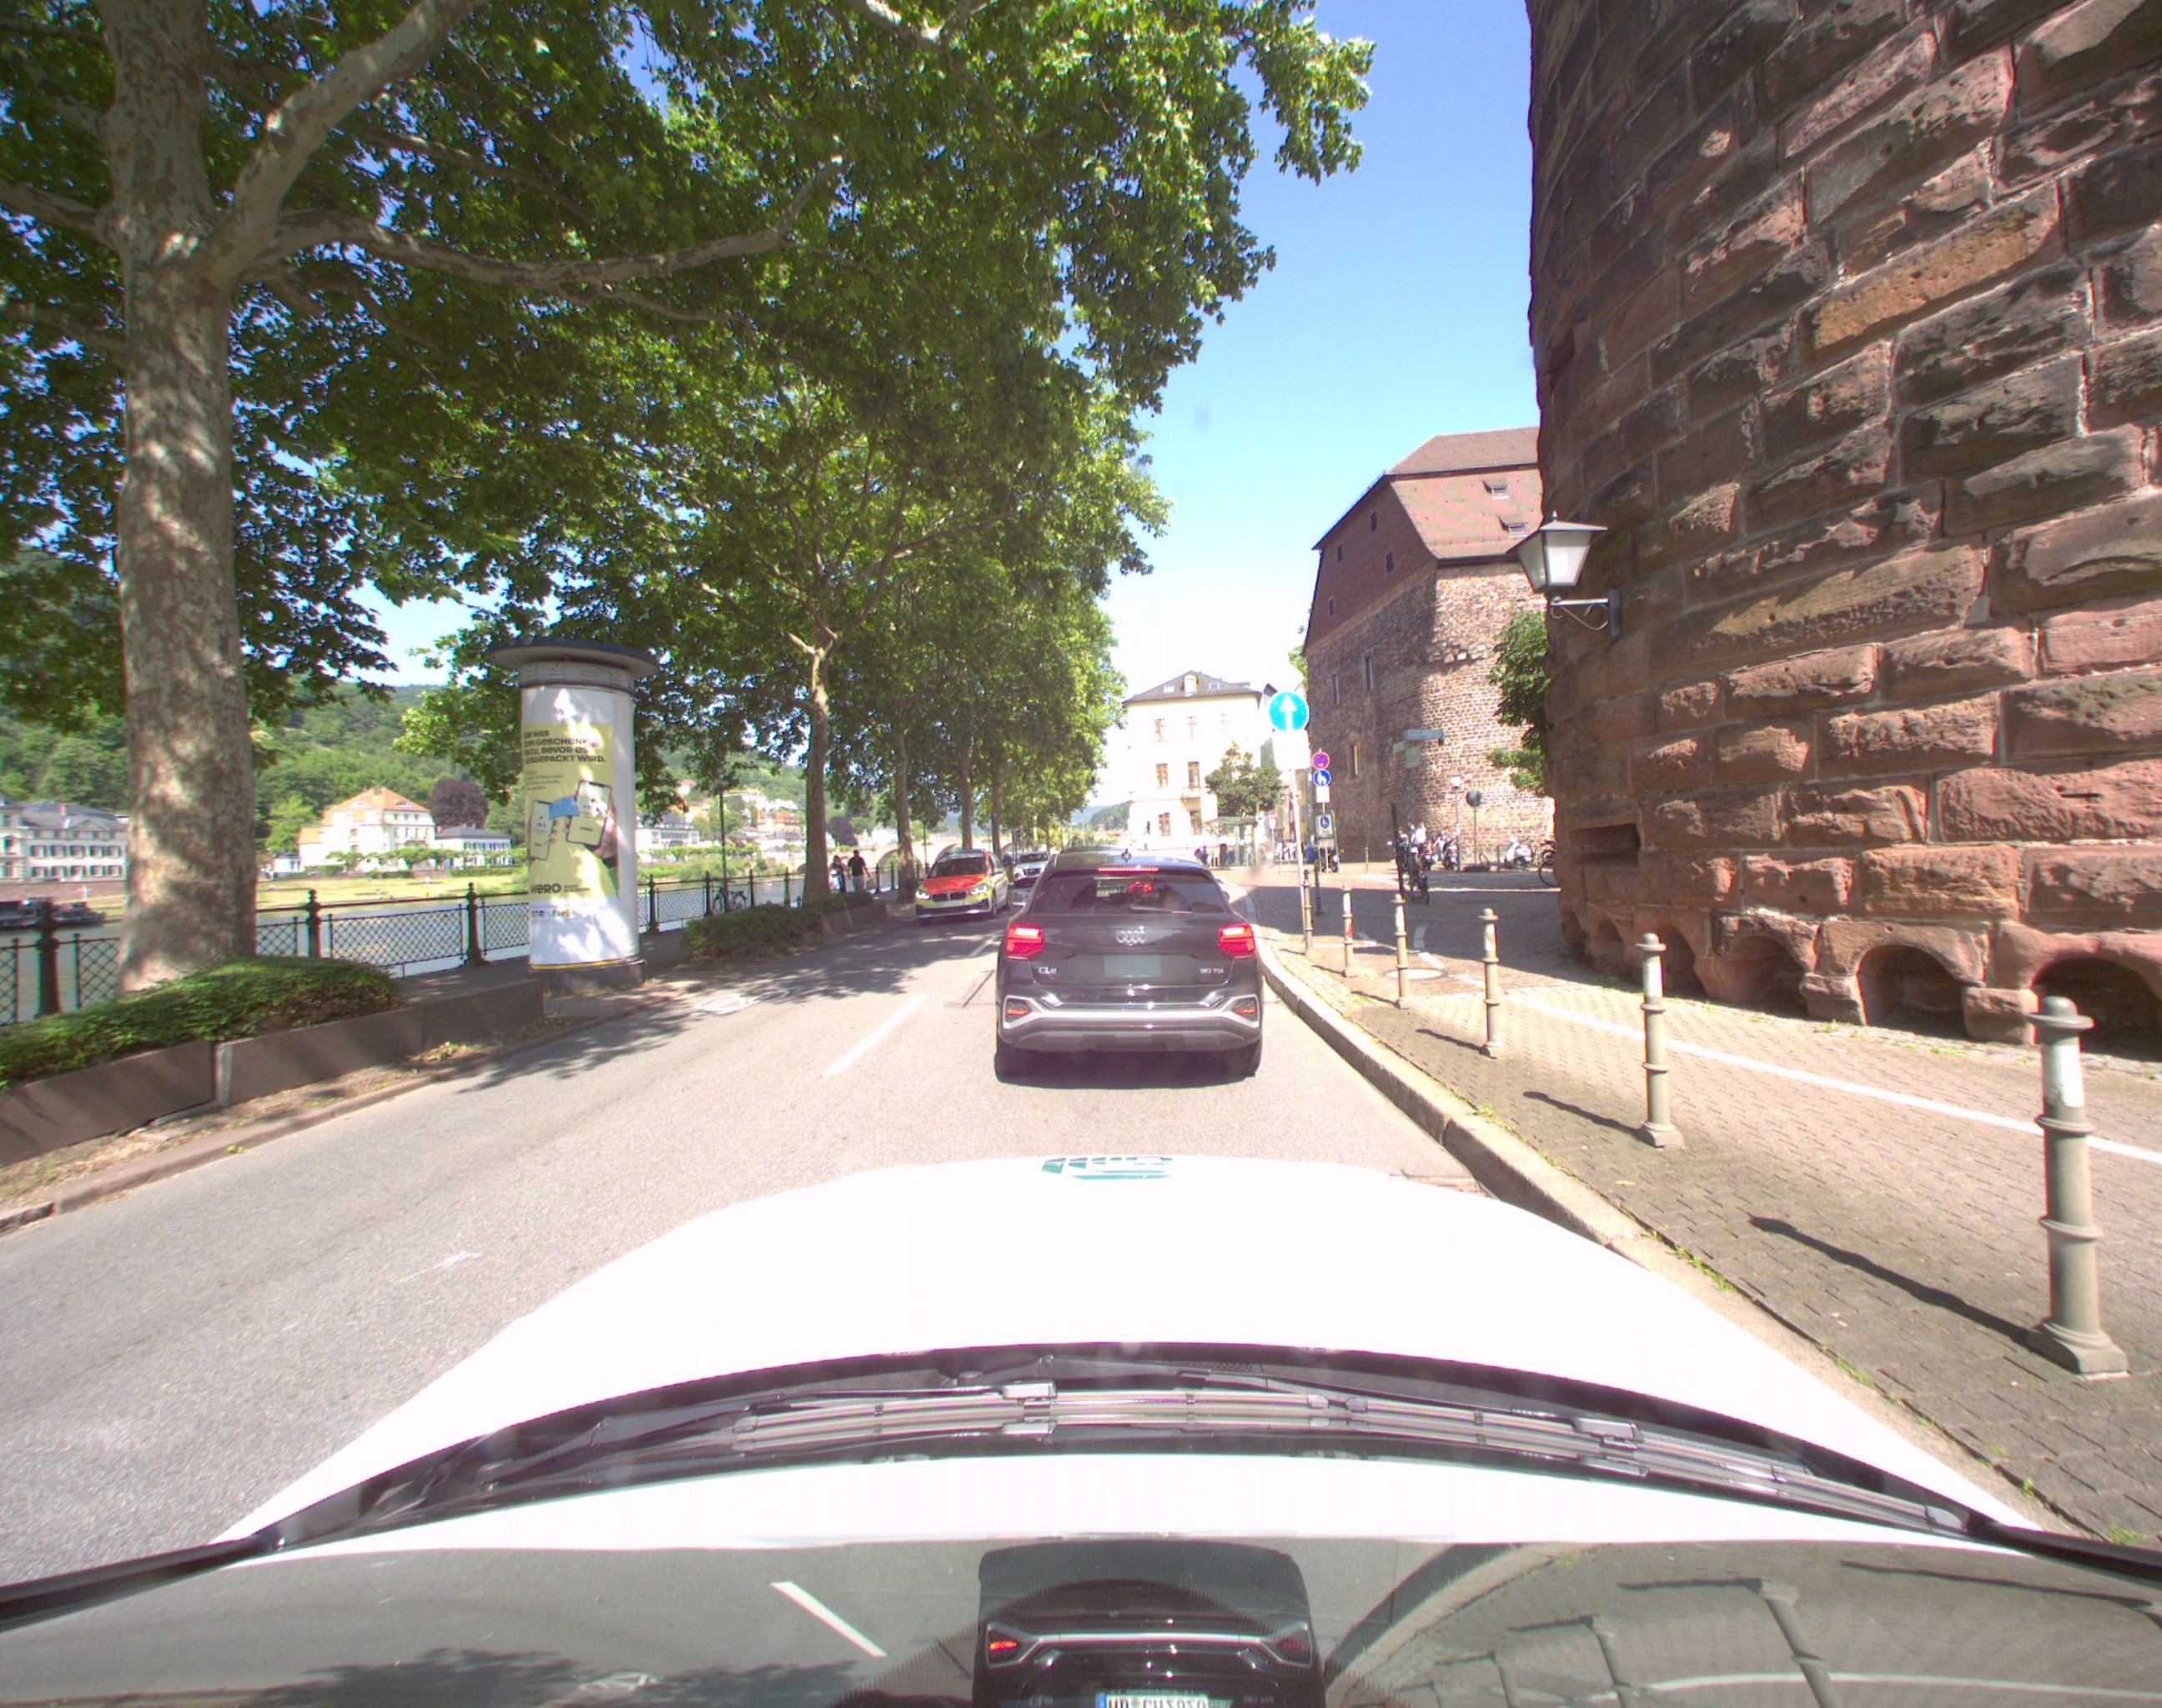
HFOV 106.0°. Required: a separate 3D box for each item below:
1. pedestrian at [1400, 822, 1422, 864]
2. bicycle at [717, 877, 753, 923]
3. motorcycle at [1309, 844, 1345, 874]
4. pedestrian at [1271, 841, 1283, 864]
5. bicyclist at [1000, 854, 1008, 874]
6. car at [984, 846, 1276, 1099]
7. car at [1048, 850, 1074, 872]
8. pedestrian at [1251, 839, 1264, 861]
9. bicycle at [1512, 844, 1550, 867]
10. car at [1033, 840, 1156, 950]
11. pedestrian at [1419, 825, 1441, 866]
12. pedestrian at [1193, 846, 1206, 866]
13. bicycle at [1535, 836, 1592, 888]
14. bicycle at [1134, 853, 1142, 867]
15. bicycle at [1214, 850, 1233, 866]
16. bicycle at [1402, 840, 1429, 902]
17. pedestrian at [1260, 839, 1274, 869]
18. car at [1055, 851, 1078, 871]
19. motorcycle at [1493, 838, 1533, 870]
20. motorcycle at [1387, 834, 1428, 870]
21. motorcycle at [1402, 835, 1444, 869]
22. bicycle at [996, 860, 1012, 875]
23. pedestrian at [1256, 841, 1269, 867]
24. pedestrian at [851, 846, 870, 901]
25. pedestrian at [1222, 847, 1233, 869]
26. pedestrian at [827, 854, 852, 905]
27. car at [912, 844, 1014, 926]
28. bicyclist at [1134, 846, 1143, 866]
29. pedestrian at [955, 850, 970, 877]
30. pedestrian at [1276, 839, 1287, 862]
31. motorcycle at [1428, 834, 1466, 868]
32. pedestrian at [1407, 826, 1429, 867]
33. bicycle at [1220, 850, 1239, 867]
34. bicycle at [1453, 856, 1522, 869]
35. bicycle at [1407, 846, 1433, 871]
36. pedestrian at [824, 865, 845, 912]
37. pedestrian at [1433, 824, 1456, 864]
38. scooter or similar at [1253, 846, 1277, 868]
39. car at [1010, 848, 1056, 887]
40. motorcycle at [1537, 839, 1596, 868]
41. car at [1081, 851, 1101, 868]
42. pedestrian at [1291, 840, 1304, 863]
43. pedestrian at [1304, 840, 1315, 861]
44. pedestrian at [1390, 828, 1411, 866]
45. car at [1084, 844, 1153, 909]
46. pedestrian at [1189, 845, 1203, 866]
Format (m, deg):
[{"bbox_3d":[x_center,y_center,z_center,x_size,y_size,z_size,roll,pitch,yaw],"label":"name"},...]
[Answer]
[{"bbox_3d":[16.152,-0.526,39.890,0.727,2.014,0.878,0,-1,1],"label":"pedestrian"},{"bbox_3d":[-8.888,1.172,20.952,0.358,1.091,1.296,1,0,1],"label":"bicycle"},{"bbox_3d":[9.056,0.167,30.034,0.564,1.012,2.490,-2,0,1],"label":"motorcycle"},{"bbox_3d":[17.722,-0.149,73.658,0.941,2.014,0.808,0,-1,2],"label":"pedestrian"},{"bbox_3d":[-5.293,0.683,56.059,0.565,1.311,0.551,0,-1,-3],"label":"bicyclist"},{"bbox_3d":[0.351,0.700,6.706,1.736,1.509,3.649,0,0,2],"label":"car"},{"bbox_3d":[-1.617,0.571,66.528,1.732,1.572,4.093,-6,0,2],"label":"car"},{"bbox_3d":[13.519,-0.296,62.360,0.773,1.621,0.646,-3,0,4],"label":"pedestrian"},{"bbox_3d":[16.627,0.050,30.135,0.352,0.820,1.926,0,1,1],"label":"bicycle"},{"bbox_3d":[0.253,0.588,13.595,1.786,1.595,3.400,0,0,2],"label":"car"},{"bbox_3d":[16.507,-0.406,38.528,0.666,1.920,0.821,0,-1,1],"label":"pedestrian"},{"bbox_3d":[6.979,0.114,47.995,0.662,1.211,0.640,0,-1,-5],"label":"pedestrian"},{"bbox_3d":[11.537,0.173,19.542,0.444,1.162,1.733,-2,0,5],"label":"bicycle"},{"bbox_3d":[4.372,0.461,62.625,0.436,1.086,1.675,0,-1,-2],"label":"bicycle"},{"bbox_3d":[8.664,0.240,49.502,1.187,1.016,0.178,0,-1,-17],"label":"bicycle"},{"bbox_3d":[6.889,0.326,16.819,0.192,1.203,1.775,-2,1,13],"label":"bicycle"},{"bbox_3d":[11.836,0.013,51.705,0.744,1.890,0.753,-1,-1,4],"label":"pedestrian"},{"bbox_3d":[-1.405,0.648,80.158,1.806,1.725,4.423,-8,0,2],"label":"car"},{"bbox_3d":[15.439,0.009,29.148,0.505,1.073,1.841,0,-1,2],"label":"motorcycle"},{"bbox_3d":[11.969,-0.053,29.886,0.653,1.266,2.201,-2,-1,2],"label":"motorcycle"},{"bbox_3d":[12.862,-0.070,30.674,0.672,1.235,2.313,0,-1,2],"label":"motorcycle"},{"bbox_3d":[-5.294,0.920,56.000,1.091,1.006,0.303,-1,-1,-5],"label":"bicycle"},{"bbox_3d":[9.506,0.010,42.684,0.555,1.385,0.588,-1,-1,4],"label":"pedestrian"},{"bbox_3d":[-7.587,0.655,28.006,0.532,1.887,0.437,0,0,1],"label":"pedestrian"},{"bbox_3d":[10.362,0.295,57.589,0.691,1.500,0.513,0,-1,-3],"label":"pedestrian"},{"bbox_3d":[-8.208,0.865,27.683,0.599,1.685,0.583,-3,0,0],"label":"pedestrian"},{"bbox_3d":[-2.786,0.679,20.146,1.667,1.660,4.224,-5,0,1],"label":"car"},{"bbox_3d":[4.384,0.155,62.510,0.604,1.450,0.590,0,-1,-3],"label":"bicyclist"},{"bbox_3d":[-8.030,0.667,55.269,0.906,1.811,0.586,-1,-2,6],"label":"pedestrian"},{"bbox_3d":[17.742,-0.271,72.124,0.836,2.014,0.738,0,-1,2],"label":"pedestrian"},{"bbox_3d":[13.753,-0.112,30.636,0.544,1.235,2.031,0,-1,2],"label":"motorcycle"},{"bbox_3d":[15.774,-0.352,38.096,0.666,1.884,0.821,0,-1,1],"label":"pedestrian"},{"bbox_3d":[8.918,0.268,48.875,1.205,1.035,0.178,0,-1,-17],"label":"bicycle"},{"bbox_3d":[13.643,0.279,27.387,1.914,0.381,0.921,-2,-1,16],"label":"bicycle"},{"bbox_3d":[16.698,0.217,40.118,0.388,1.209,1.715,0,-1,-6],"label":"bicycle"},{"bbox_3d":[-7.301,1.007,24.131,0.476,1.362,0.418,0,0,5],"label":"pedestrian"},{"bbox_3d":[15.319,-0.421,34.334,0.799,1.662,0.660,-3,0,26],"label":"pedestrian"},{"bbox_3d":[8.899,0.159,39.342,1.085,1.066,0.323,0,-1,-1],"label":"scooter or similar"},{"bbox_3d":[-2.260,0.632,39.254,1.762,1.660,4.001,-4,0,1],"label":"car"},{"bbox_3d":[18.332,-0.018,30.786,1.854,1.054,0.481,-1,-1,9],"label":"motorcycle"},{"bbox_3d":[1.120,0.581,90.685,1.985,1.806,4.003,-1,-1,3],"label":"car"},{"bbox_3d":[19.014,-0.236,71.588,0.936,2.014,0.808,0,-1,2],"label":"pedestrian"},{"bbox_3d":[18.330,-0.297,65.398,0.685,1.612,0.896,-4,0,22],"label":"pedestrian"},{"bbox_3d":[15.493,-0.349,39.508,0.649,1.802,0.847,-1,0,1],"label":"pedestrian"},{"bbox_3d":[1.018,0.555,22.450,1.704,1.609,3.656,-1,0,2],"label":"car"},{"bbox_3d":[6.905,0.097,48.850,0.662,1.231,0.640,0,-1,-5],"label":"pedestrian"}]
